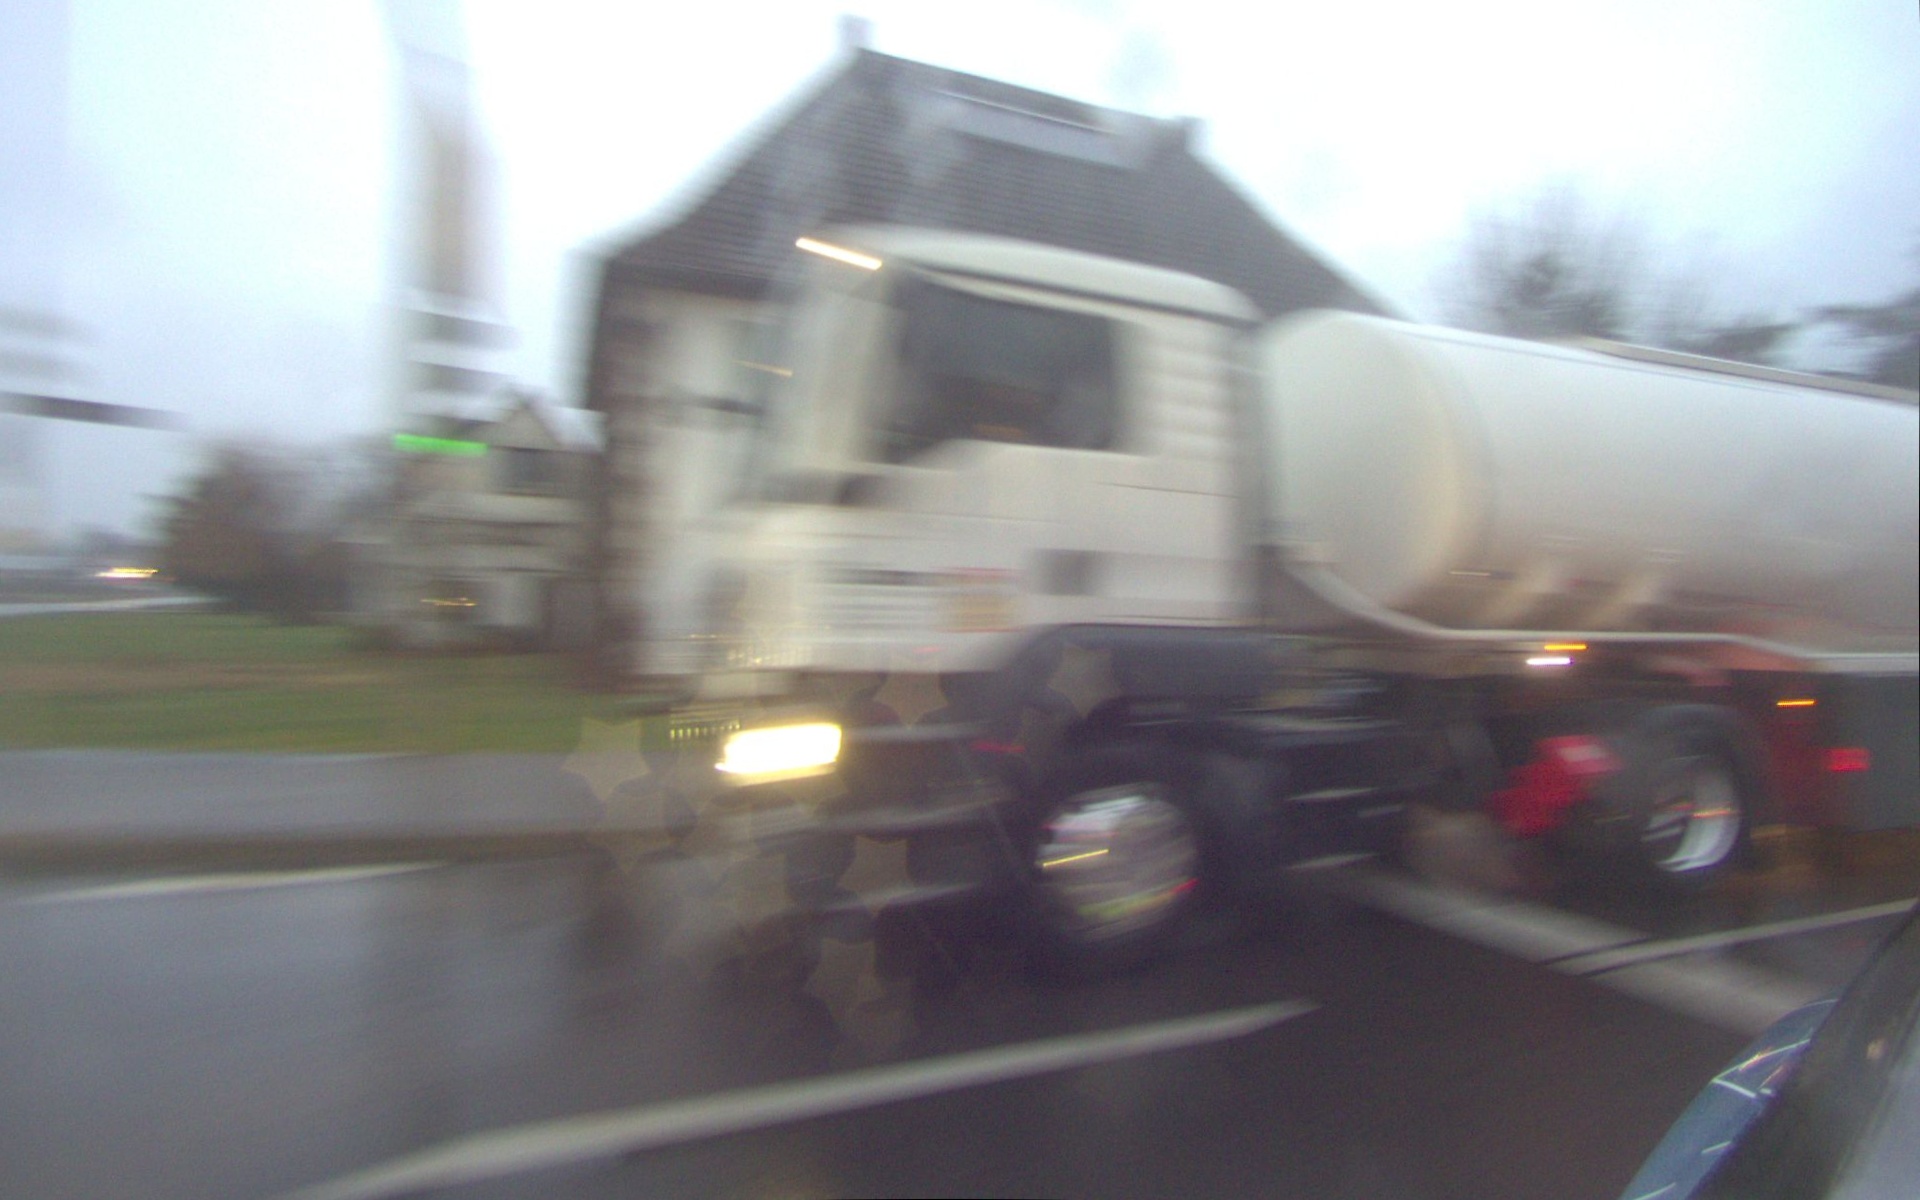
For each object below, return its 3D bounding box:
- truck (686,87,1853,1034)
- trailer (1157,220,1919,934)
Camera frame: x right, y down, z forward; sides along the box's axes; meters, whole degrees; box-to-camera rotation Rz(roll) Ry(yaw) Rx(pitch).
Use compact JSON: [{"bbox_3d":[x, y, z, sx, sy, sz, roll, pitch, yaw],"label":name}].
[{"bbox_3d":[1.760,-0.106,5.772,6.141,3.271,2.474,1,-1,-22],"label":"truck"},{"bbox_3d":[6.774,-0.043,7.776,10.640,3.282,2.501,1,-1,-22],"label":"trailer"}]
